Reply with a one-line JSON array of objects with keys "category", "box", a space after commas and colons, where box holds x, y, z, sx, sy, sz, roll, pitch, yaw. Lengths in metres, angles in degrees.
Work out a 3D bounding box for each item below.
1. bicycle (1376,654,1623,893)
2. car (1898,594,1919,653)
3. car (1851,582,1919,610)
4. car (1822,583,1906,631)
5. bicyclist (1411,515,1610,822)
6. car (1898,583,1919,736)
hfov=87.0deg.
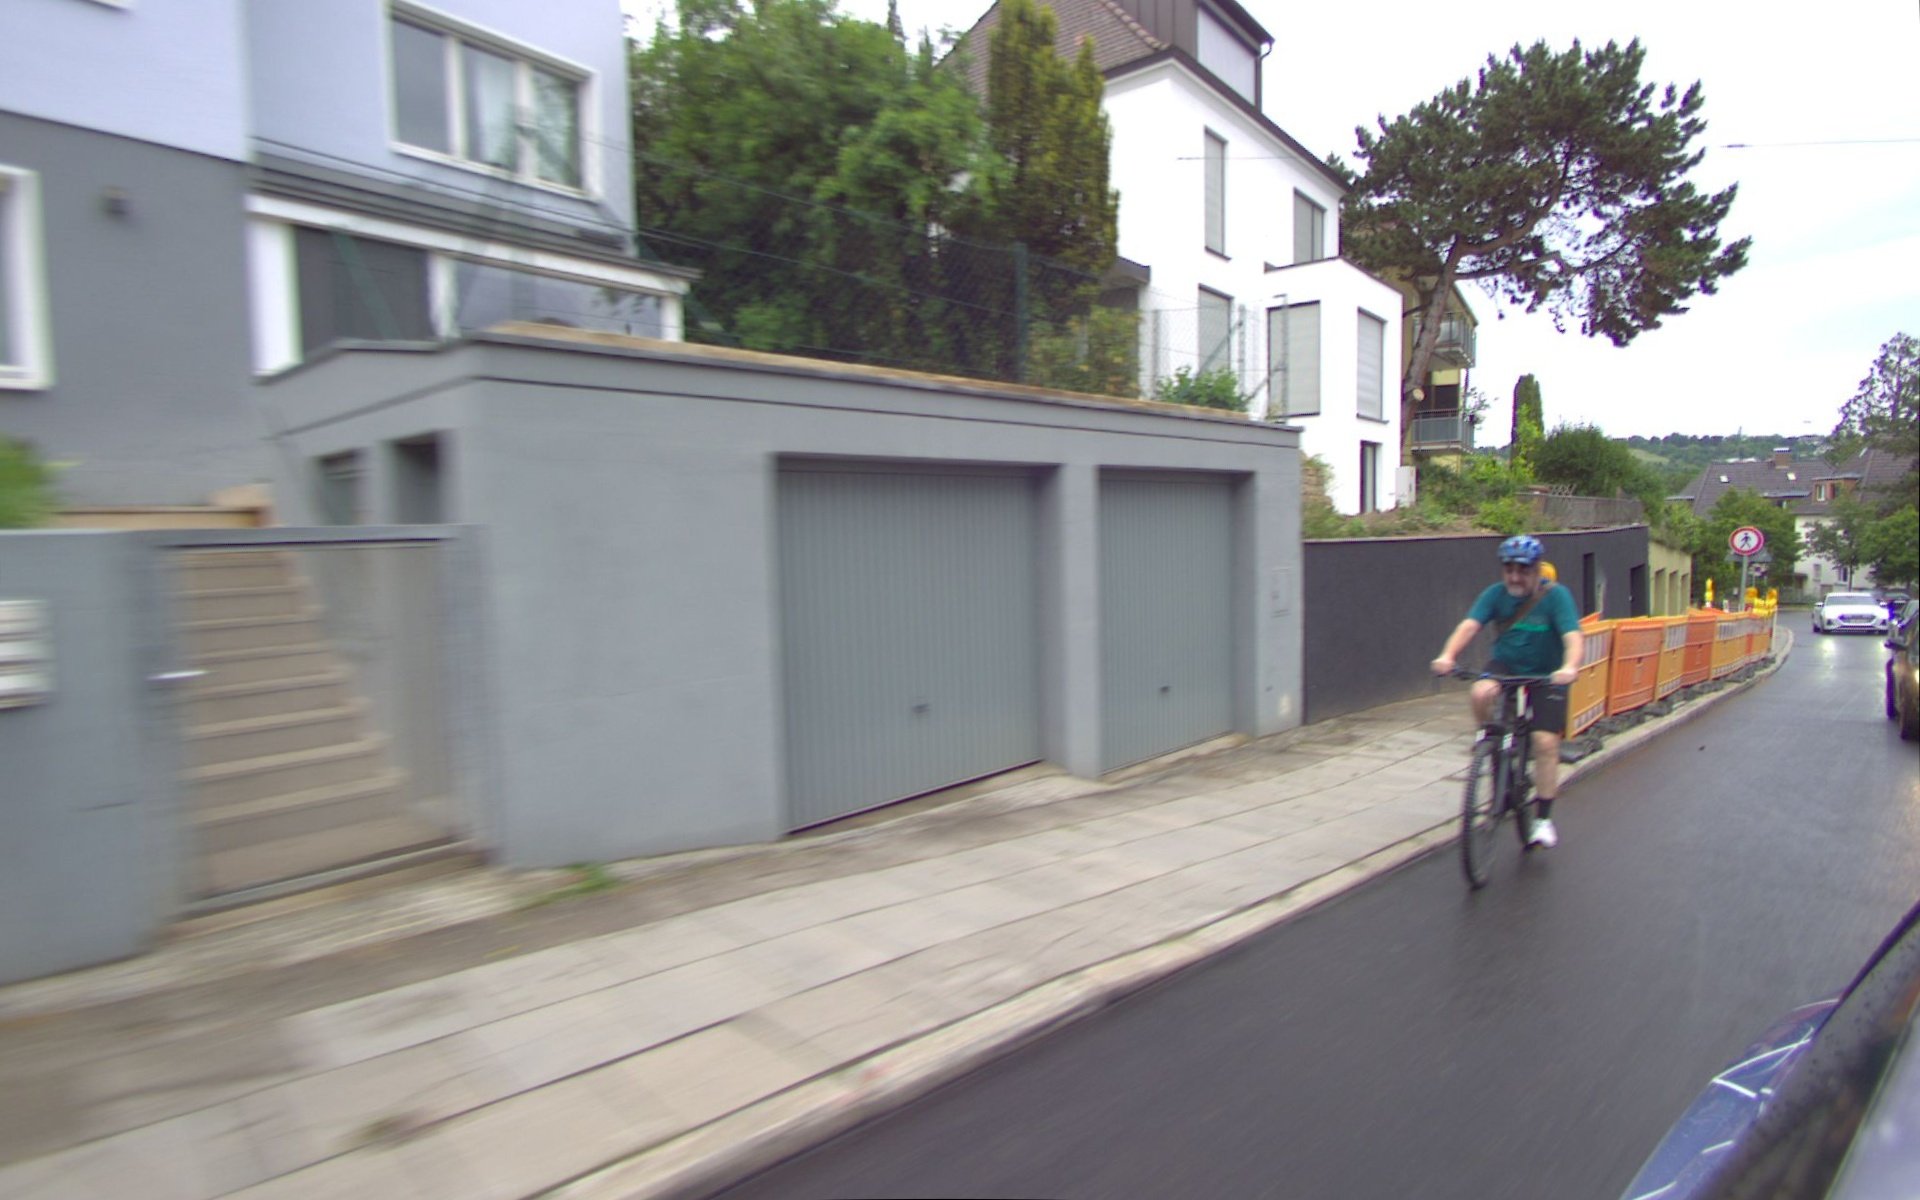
[{"category": "bicycle", "box": [2.942, 0.834, 5.445, 1.643, 0.977, 0.730, -1, 0, -45]}, {"category": "car", "box": [25.991, 0.597, 26.537, 1.836, 1.420, 4.013, 0, 1, 40]}, {"category": "car", "box": [51.780, -0.223, 56.372, 1.651, 1.484, 3.878, 0, 1, 14]}, {"category": "car", "box": [35.244, 0.213, 39.564, 1.989, 1.730, 4.515, 0, 1, 36]}, {"category": "bicyclist", "box": [2.981, 0.324, 5.476, 0.872, 1.491, 0.725, 0, 1, -45]}, {"category": "car", "box": [11.686, 0.575, 11.318, 1.669, 1.484, 4.645, 0, 1, 42]}]
